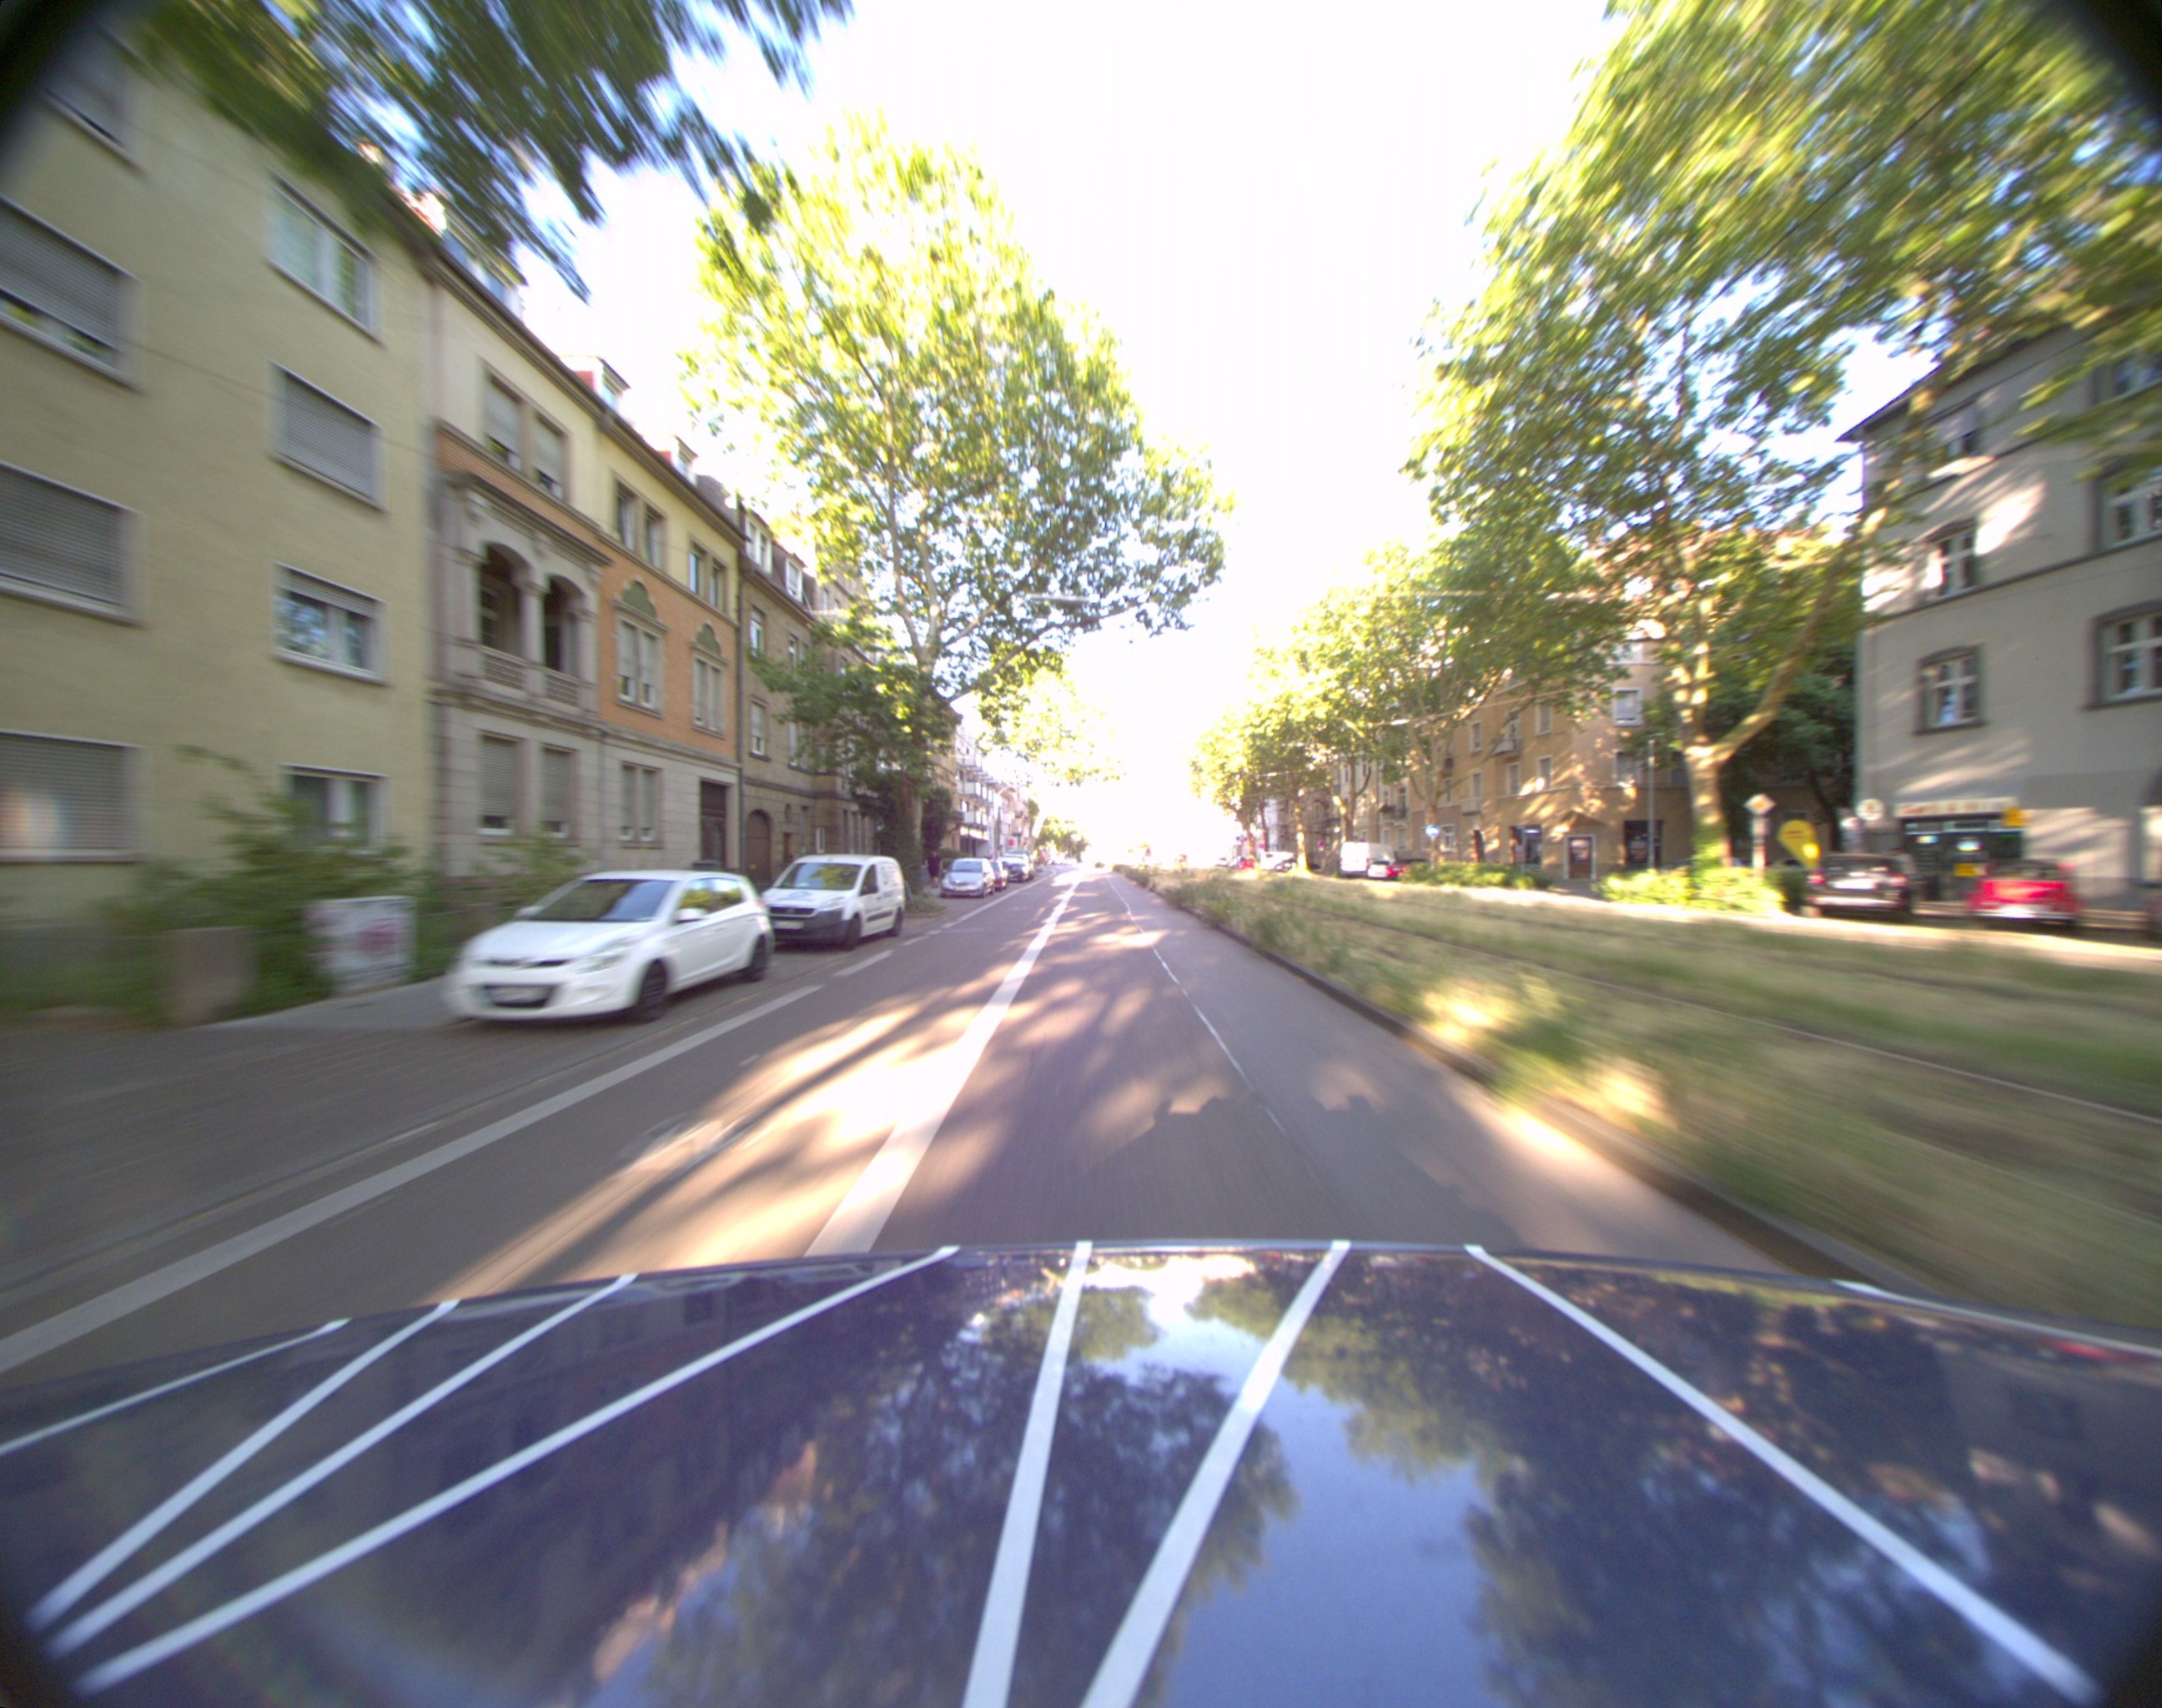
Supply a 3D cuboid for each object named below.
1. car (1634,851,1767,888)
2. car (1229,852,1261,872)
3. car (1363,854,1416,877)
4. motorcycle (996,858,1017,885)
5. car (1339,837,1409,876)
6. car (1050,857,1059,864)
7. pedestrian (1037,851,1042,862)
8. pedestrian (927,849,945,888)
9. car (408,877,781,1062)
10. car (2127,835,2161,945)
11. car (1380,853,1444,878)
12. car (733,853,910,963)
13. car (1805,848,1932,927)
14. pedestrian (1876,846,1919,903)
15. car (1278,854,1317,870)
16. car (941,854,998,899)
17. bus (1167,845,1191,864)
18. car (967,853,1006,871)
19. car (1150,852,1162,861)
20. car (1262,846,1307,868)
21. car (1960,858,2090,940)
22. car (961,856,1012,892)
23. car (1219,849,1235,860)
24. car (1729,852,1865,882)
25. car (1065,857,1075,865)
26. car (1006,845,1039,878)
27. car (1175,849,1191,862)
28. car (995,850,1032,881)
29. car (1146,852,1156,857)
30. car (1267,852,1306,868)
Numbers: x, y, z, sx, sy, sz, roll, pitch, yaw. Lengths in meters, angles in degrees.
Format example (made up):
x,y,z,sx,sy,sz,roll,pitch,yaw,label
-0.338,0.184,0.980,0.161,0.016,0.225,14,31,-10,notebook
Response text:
x,y,z,sx,sy,sz,roll,pitch,yaw,label
29.181,0.688,35.946,1.799,1.495,4.519,-1,2,-30,car
13.344,0.615,61.878,1.794,1.565,4.000,-1,0,1,car
19.937,0.727,49.052,3.717,1.391,1.731,-1,0,-41,car
-4.095,0.930,41.683,0.826,1.390,2.377,1,0,-12,motorcycle
20.109,0.142,51.966,5.519,2.514,2.120,-1,1,-41,car
-6.626,1.677,190.649,1.877,1.586,4.001,-1,0,5,car
-6.712,0.395,122.499,0.831,1.802,1.150,-1,1,-1,pedestrian
-7.168,0.698,37.668,0.712,1.926,0.815,-1,1,1,pedestrian
-5.045,1.073,8.646,1.649,1.477,4.000,0,0,0,car
19.665,0.624,12.696,4.008,1.871,1.994,-2,2,-44,car
20.174,0.671,46.221,3.716,1.457,1.732,1,0,-31,car
-4.816,0.899,14.860,1.748,1.760,4.394,-1,1,3,car
19.750,0.748,19.020,4.007,1.714,1.779,-2,2,-38,car
25.314,0.636,23.563,0.628,1.749,0.673,0,1,6,pedestrian
20.126,0.733,70.506,3.736,1.413,1.717,-1,0,-41,car
-4.628,0.880,32.017,1.748,1.680,3.851,-1,1,1,car
17.954,0.019,139.549,3.262,3.355,11.976,-1,1,2,bus
-8.671,0.743,70.189,3.427,1.538,1.442,-1,1,-2,car
13.720,0.425,138.706,1.720,1.477,4.699,2,0,0,car
20.648,0.289,76.957,5.257,2.054,1.717,-1,1,-41,car
20.070,0.863,16.163,4.007,1.440,1.581,-2,2,-38,car
-4.591,0.931,37.388,1.999,1.551,3.979,-1,1,-1,car
23.914,0.067,124.737,1.909,1.776,4.653,-1,1,2,car
34.124,0.596,36.350,1.799,1.328,4.407,-1,0,-30,car
-2.303,1.489,161.236,1.835,1.696,3.997,-1,1,-4,car
-4.237,0.464,55.481,1.999,2.244,5.234,-1,1,0,car
14.049,0.223,104.851,1.873,1.684,4.777,-1,1,4,car
-4.349,0.708,49.716,1.999,1.819,4.756,-1,1,0,car
21.174,0.205,229.893,1.739,1.471,3.809,0,0,-15,car
20.092,0.612,74.202,4.185,1.482,1.717,-1,0,-41,car
